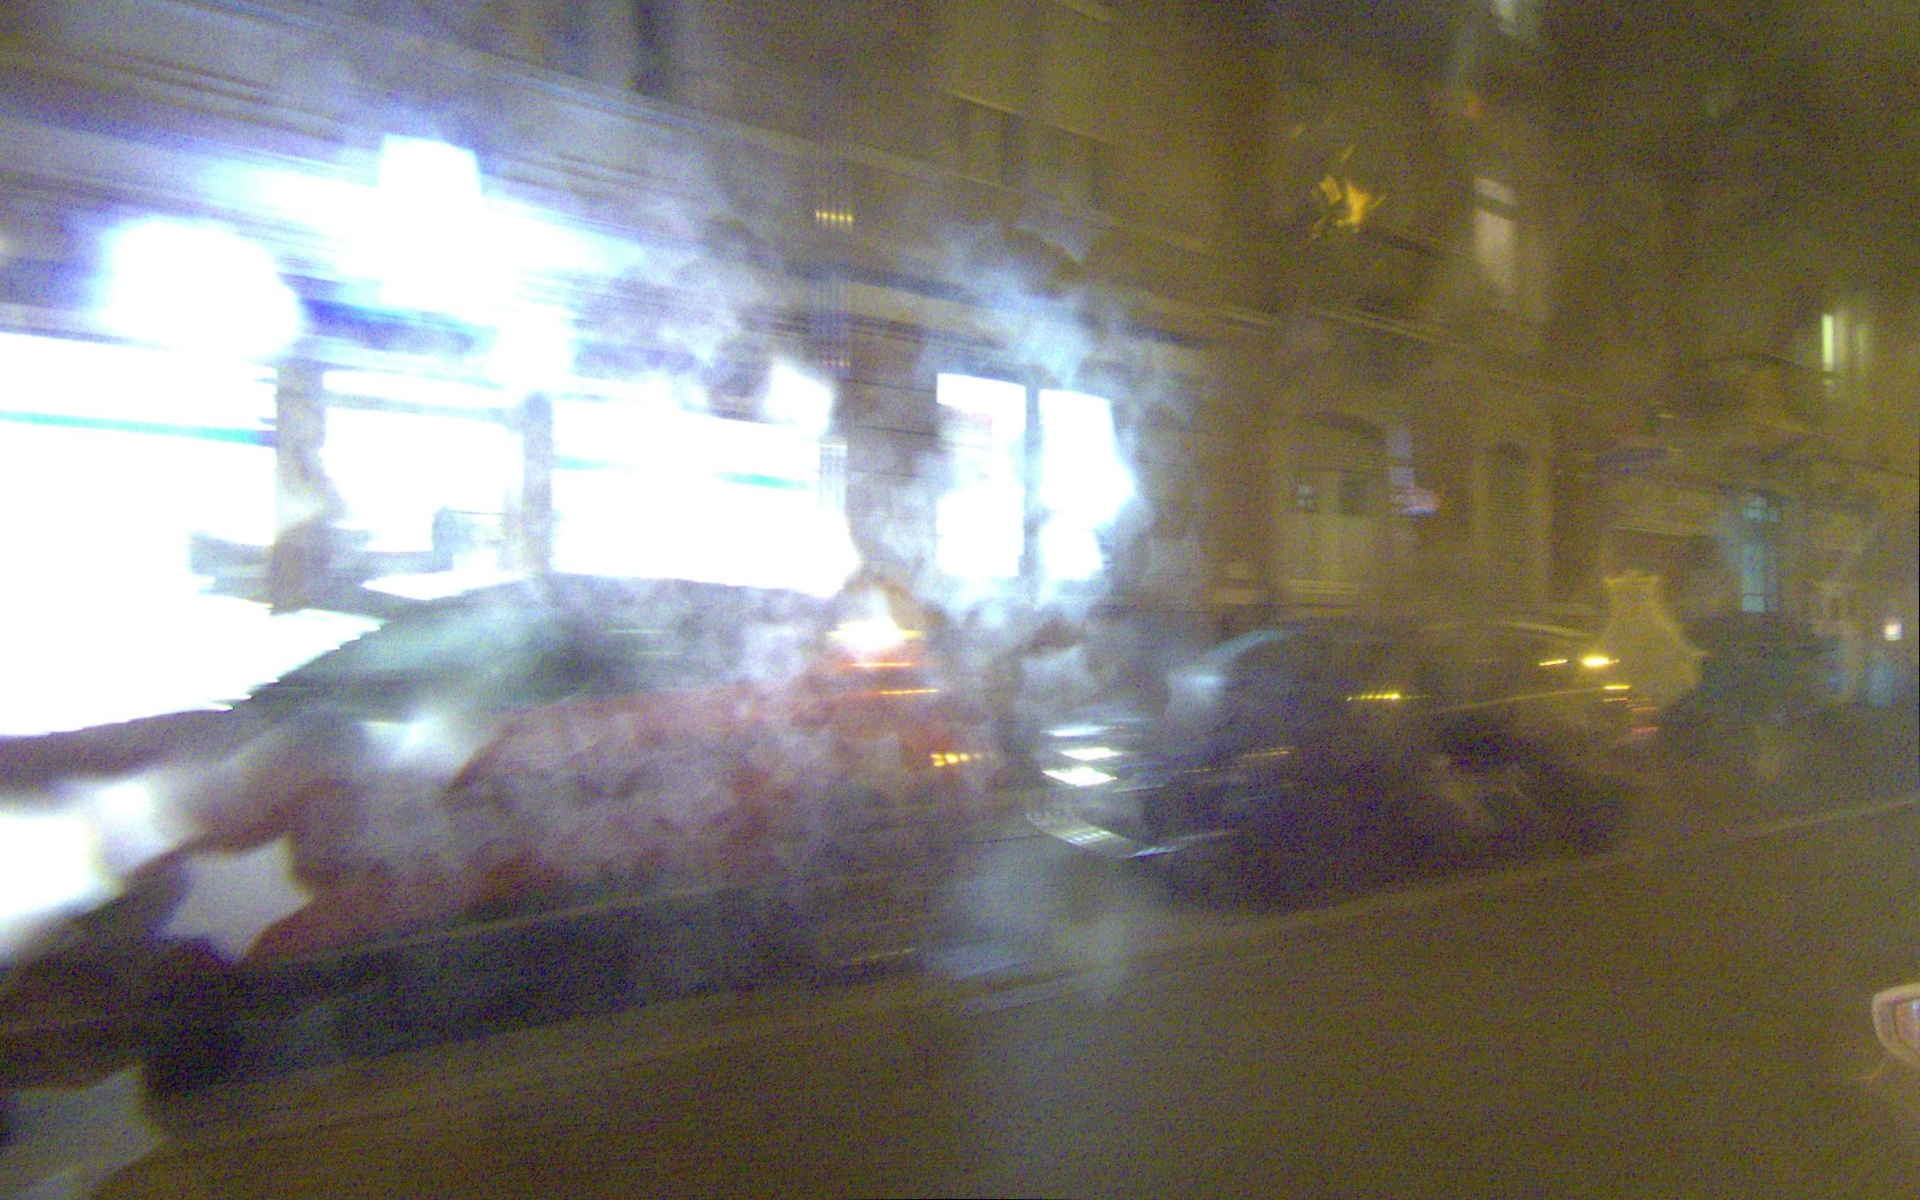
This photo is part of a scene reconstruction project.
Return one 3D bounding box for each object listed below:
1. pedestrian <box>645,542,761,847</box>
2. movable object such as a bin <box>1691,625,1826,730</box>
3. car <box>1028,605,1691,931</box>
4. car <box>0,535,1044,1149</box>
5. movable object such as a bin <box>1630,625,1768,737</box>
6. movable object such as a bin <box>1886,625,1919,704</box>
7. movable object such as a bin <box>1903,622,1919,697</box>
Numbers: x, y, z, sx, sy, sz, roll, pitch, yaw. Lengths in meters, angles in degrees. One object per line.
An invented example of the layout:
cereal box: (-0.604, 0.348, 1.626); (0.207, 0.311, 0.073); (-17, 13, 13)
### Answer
pedestrian: (-1.633, 0.571, 6.362); (0.543, 1.804, 0.636); (1, -1, -29)
movable object such as a bin: (11.887, 1.121, 14.972); (1.232, 1.439, 1.136); (1, 1, -27)
car: (2.671, 0.811, 6.416); (4.265, 1.475, 1.678); (1, 0, -31)
car: (-1.766, 0.636, 3.903); (3.978, 1.573, 1.595); (1, 0, -31)
movable object such as a bin: (10.367, 1.108, 14.115); (1.139, 1.439, 1.136); (1, 1, -27)
movable object such as a bin: (18.227, 1.213, 18.800); (1.119, 1.439, 0.971); (1, 1, -27)
movable object such as a bin: (19.260, 1.181, 19.553); (1.119, 1.439, 0.971); (1, 1, -27)
